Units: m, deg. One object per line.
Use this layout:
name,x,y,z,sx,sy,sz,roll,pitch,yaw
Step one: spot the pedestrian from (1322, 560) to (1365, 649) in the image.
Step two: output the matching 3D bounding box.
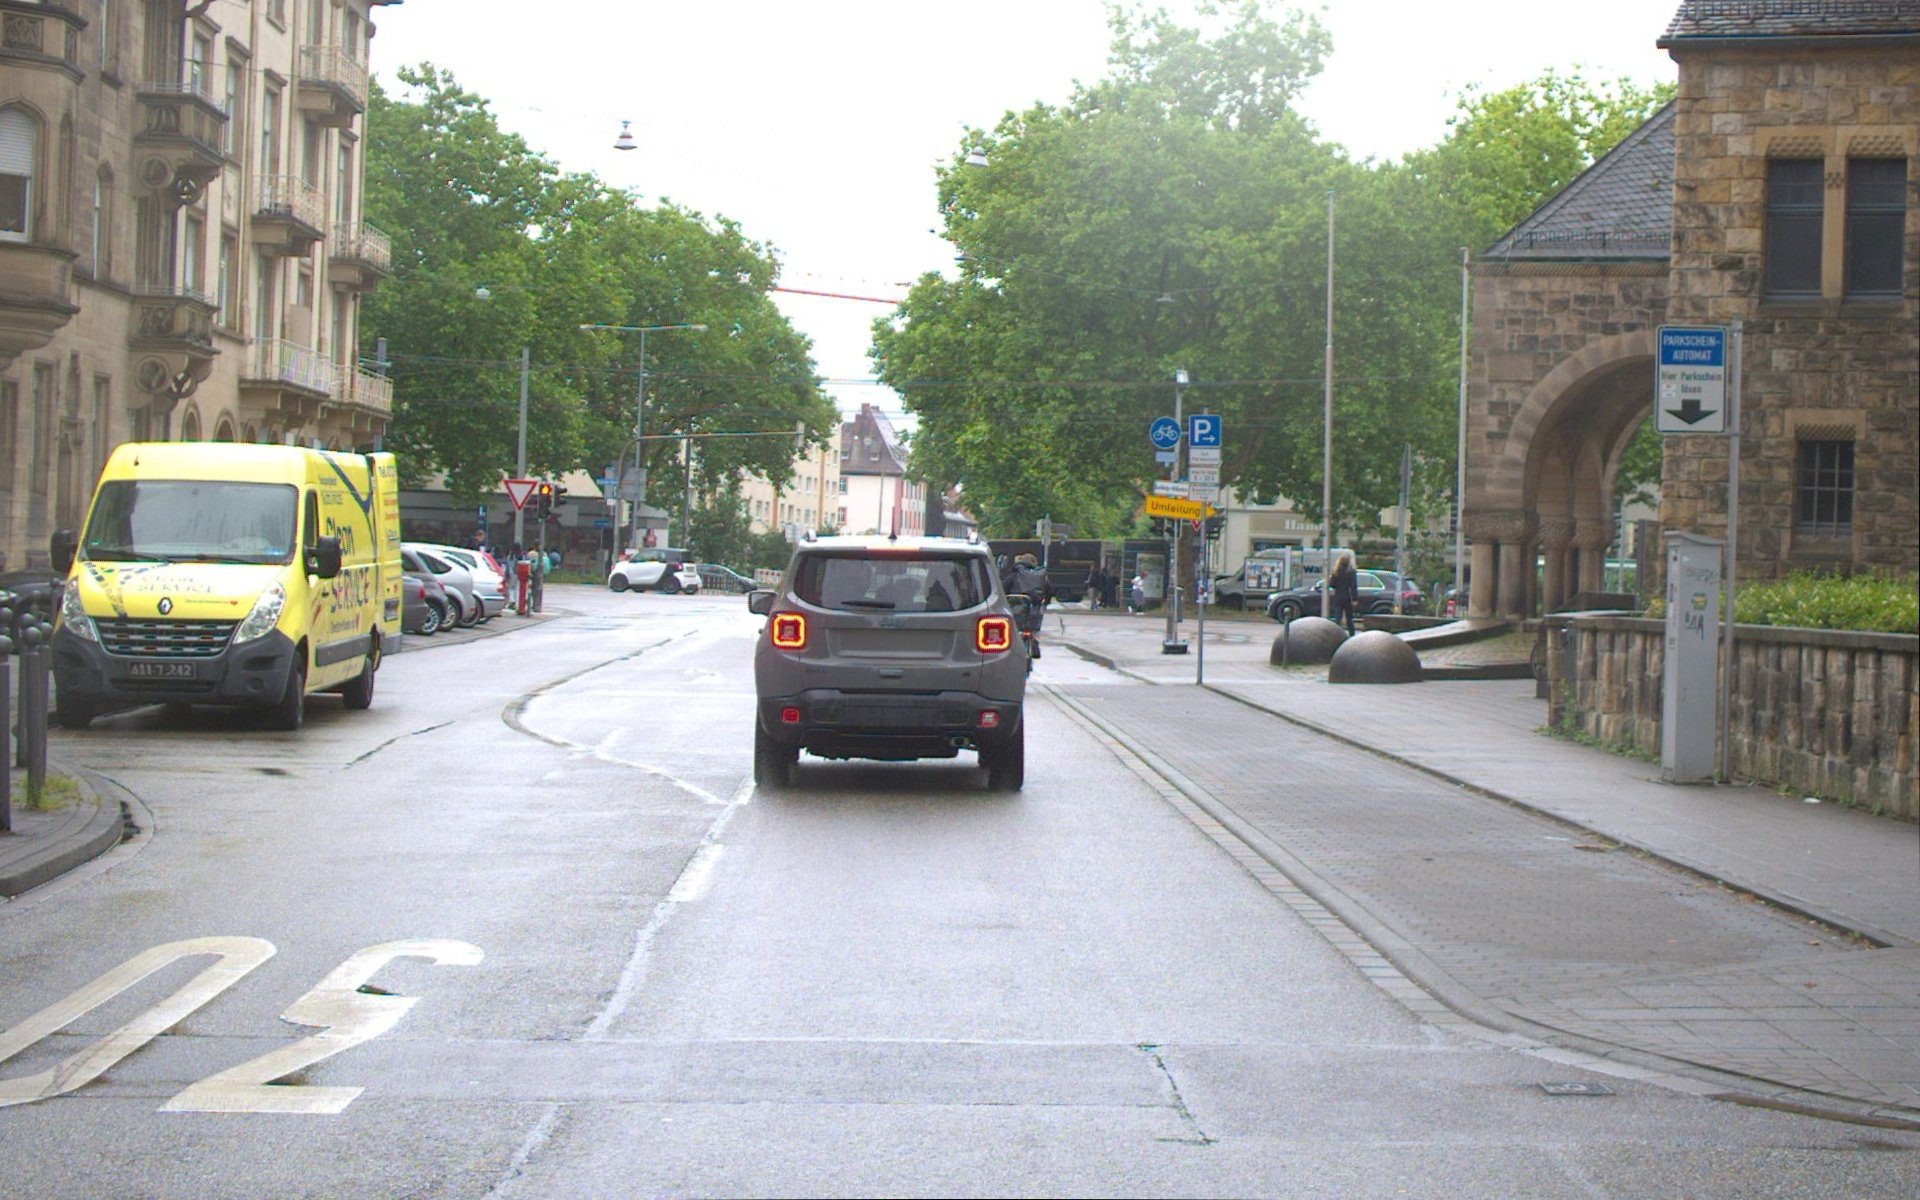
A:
pedestrian,7.423,0.087,66.561,0.690,1.705,0.684,1,0,-1

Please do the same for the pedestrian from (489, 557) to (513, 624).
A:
pedestrian,-11.115,-0.232,83.183,0.467,1.580,0.659,2,0,-2

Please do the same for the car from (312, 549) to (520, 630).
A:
car,-10.329,-0.192,65.338,3.413,1.311,1.779,3,0,-34

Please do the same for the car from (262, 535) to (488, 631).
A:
car,-10.578,-0.306,62.220,3.496,1.513,1.885,3,0,-34

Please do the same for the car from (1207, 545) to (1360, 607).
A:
car,12.891,-0.968,137.255,5.904,2.326,2.059,1,1,3

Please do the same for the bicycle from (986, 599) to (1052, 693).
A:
bicycle,0.692,0.535,40.781,0.705,1.050,1.813,1,1,-1

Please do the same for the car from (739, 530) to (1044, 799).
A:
car,-0.519,0.396,24.128,1.898,1.665,4.506,1,0,-2

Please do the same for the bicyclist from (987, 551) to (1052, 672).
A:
bicyclist,0.704,0.127,40.778,0.705,1.399,1.171,1,0,-1

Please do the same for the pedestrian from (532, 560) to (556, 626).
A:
pedestrian,-10.142,-0.178,83.806,0.467,1.580,0.752,2,0,-2

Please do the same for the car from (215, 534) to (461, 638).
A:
car,-10.667,-0.237,59.020,3.653,1.553,1.809,3,0,-37

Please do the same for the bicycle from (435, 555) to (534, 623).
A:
bicycle,-10.473,-0.241,75.749,2.092,1.439,0.491,1,0,-21

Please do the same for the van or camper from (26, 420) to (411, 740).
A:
van or camper,-6.529,-0.083,31.166,2.121,2.522,6.875,-2,-1,-2

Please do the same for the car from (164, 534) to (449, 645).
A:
car,-10.121,-0.154,53.355,3.843,1.474,1.885,3,0,-42

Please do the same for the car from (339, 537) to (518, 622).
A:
car,-11.005,-0.415,71.254,3.245,1.553,1.535,3,0,-34

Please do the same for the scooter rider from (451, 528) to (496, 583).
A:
scooter rider,-11.444,-1.042,80.840,0.880,1.216,0.984,2,-2,-1

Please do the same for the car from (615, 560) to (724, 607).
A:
car,-9.545,-0.550,112.989,3.190,1.495,1.541,1,0,16

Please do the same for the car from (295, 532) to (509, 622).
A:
car,-11.014,-0.450,67.950,3.729,1.553,1.672,3,0,-34

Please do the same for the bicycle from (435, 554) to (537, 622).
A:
bicycle,-10.311,-0.260,74.758,2.109,1.439,0.539,1,0,-21
